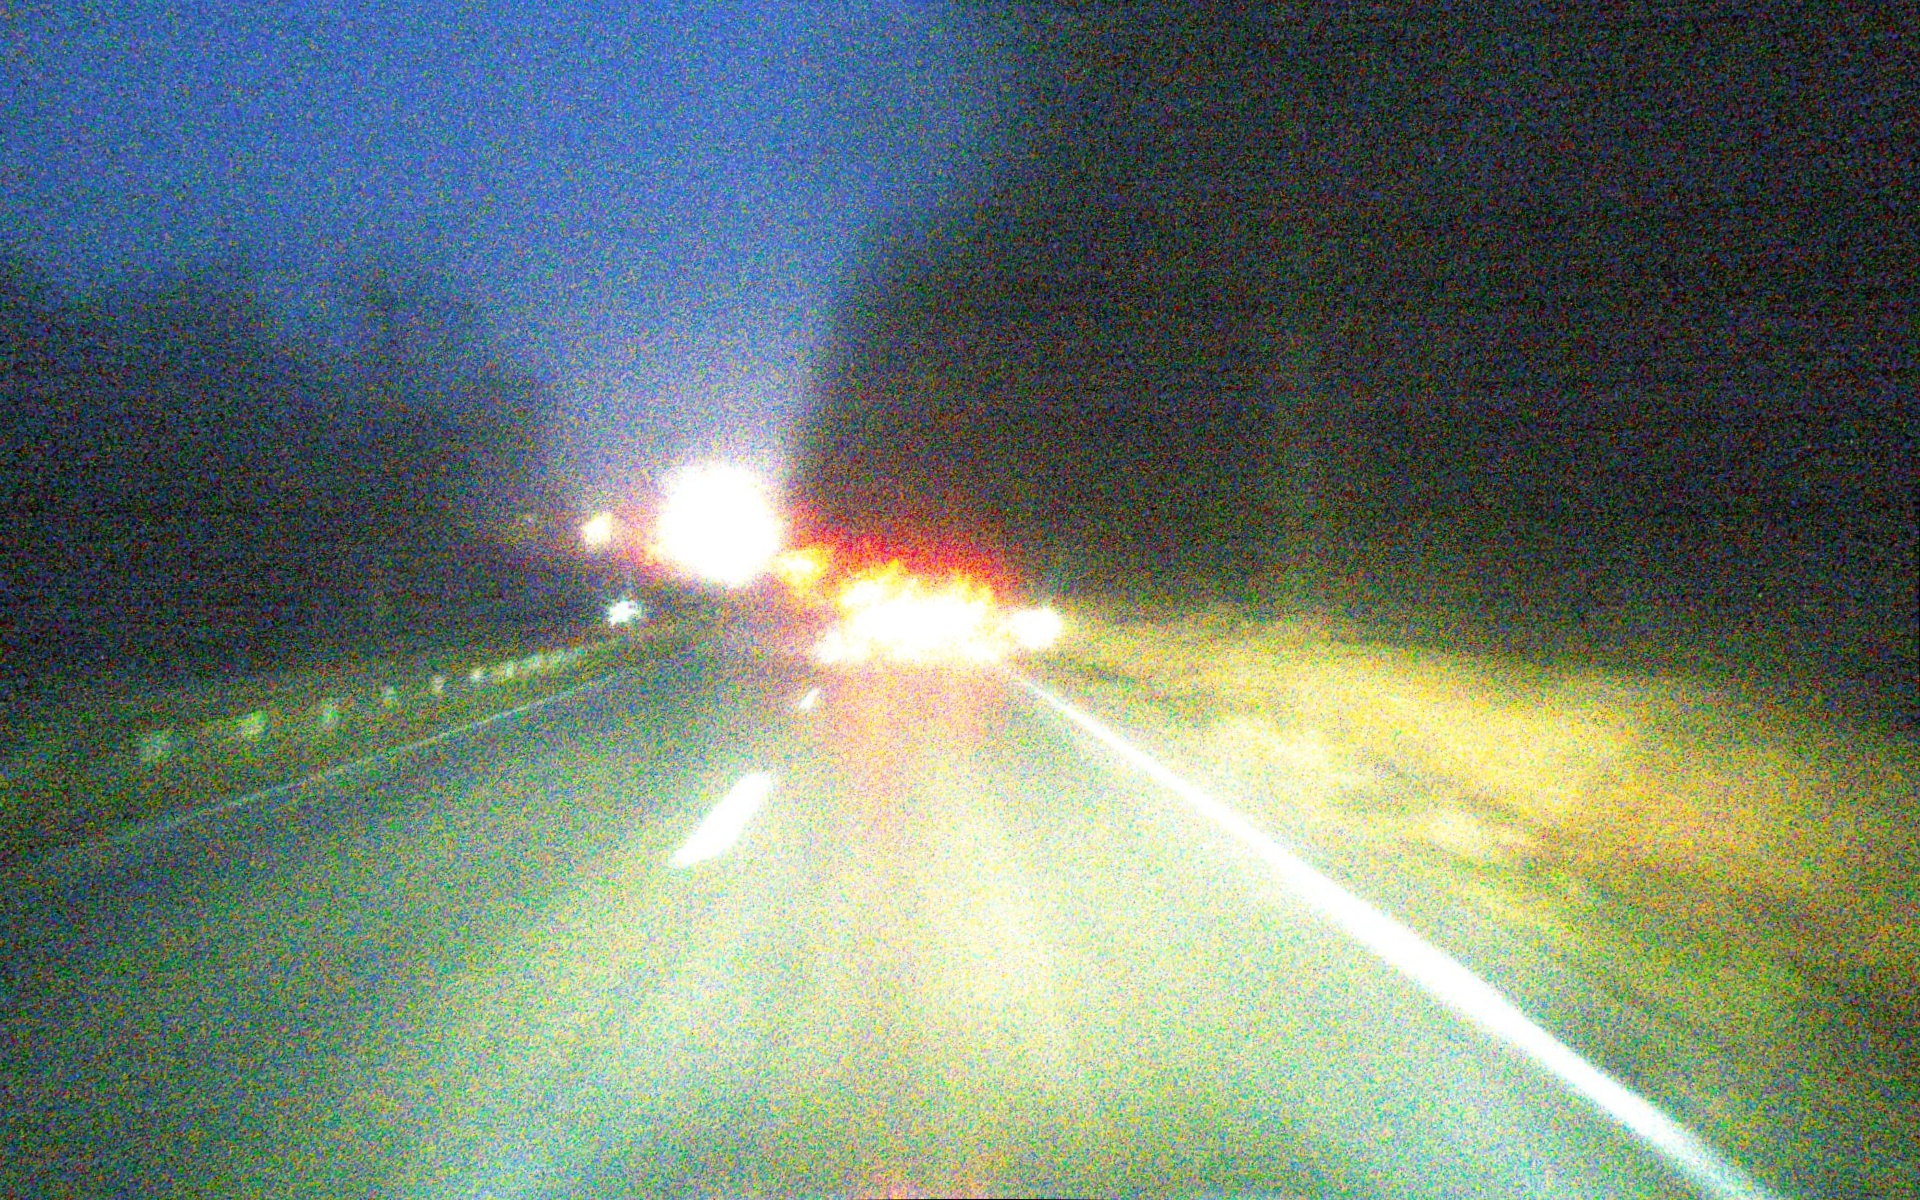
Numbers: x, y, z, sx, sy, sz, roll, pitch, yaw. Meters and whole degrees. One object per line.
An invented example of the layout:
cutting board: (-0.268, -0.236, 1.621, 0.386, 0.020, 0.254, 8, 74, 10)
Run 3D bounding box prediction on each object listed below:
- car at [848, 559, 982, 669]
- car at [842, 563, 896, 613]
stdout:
car: (-0.785, 0.250, 32.527, 2.407, 1.993, 4.912, 0, 0, 1)
car: (-3.887, -0.517, 70.046, 1.956, 2.049, 3.993, 1, 1, -8)
